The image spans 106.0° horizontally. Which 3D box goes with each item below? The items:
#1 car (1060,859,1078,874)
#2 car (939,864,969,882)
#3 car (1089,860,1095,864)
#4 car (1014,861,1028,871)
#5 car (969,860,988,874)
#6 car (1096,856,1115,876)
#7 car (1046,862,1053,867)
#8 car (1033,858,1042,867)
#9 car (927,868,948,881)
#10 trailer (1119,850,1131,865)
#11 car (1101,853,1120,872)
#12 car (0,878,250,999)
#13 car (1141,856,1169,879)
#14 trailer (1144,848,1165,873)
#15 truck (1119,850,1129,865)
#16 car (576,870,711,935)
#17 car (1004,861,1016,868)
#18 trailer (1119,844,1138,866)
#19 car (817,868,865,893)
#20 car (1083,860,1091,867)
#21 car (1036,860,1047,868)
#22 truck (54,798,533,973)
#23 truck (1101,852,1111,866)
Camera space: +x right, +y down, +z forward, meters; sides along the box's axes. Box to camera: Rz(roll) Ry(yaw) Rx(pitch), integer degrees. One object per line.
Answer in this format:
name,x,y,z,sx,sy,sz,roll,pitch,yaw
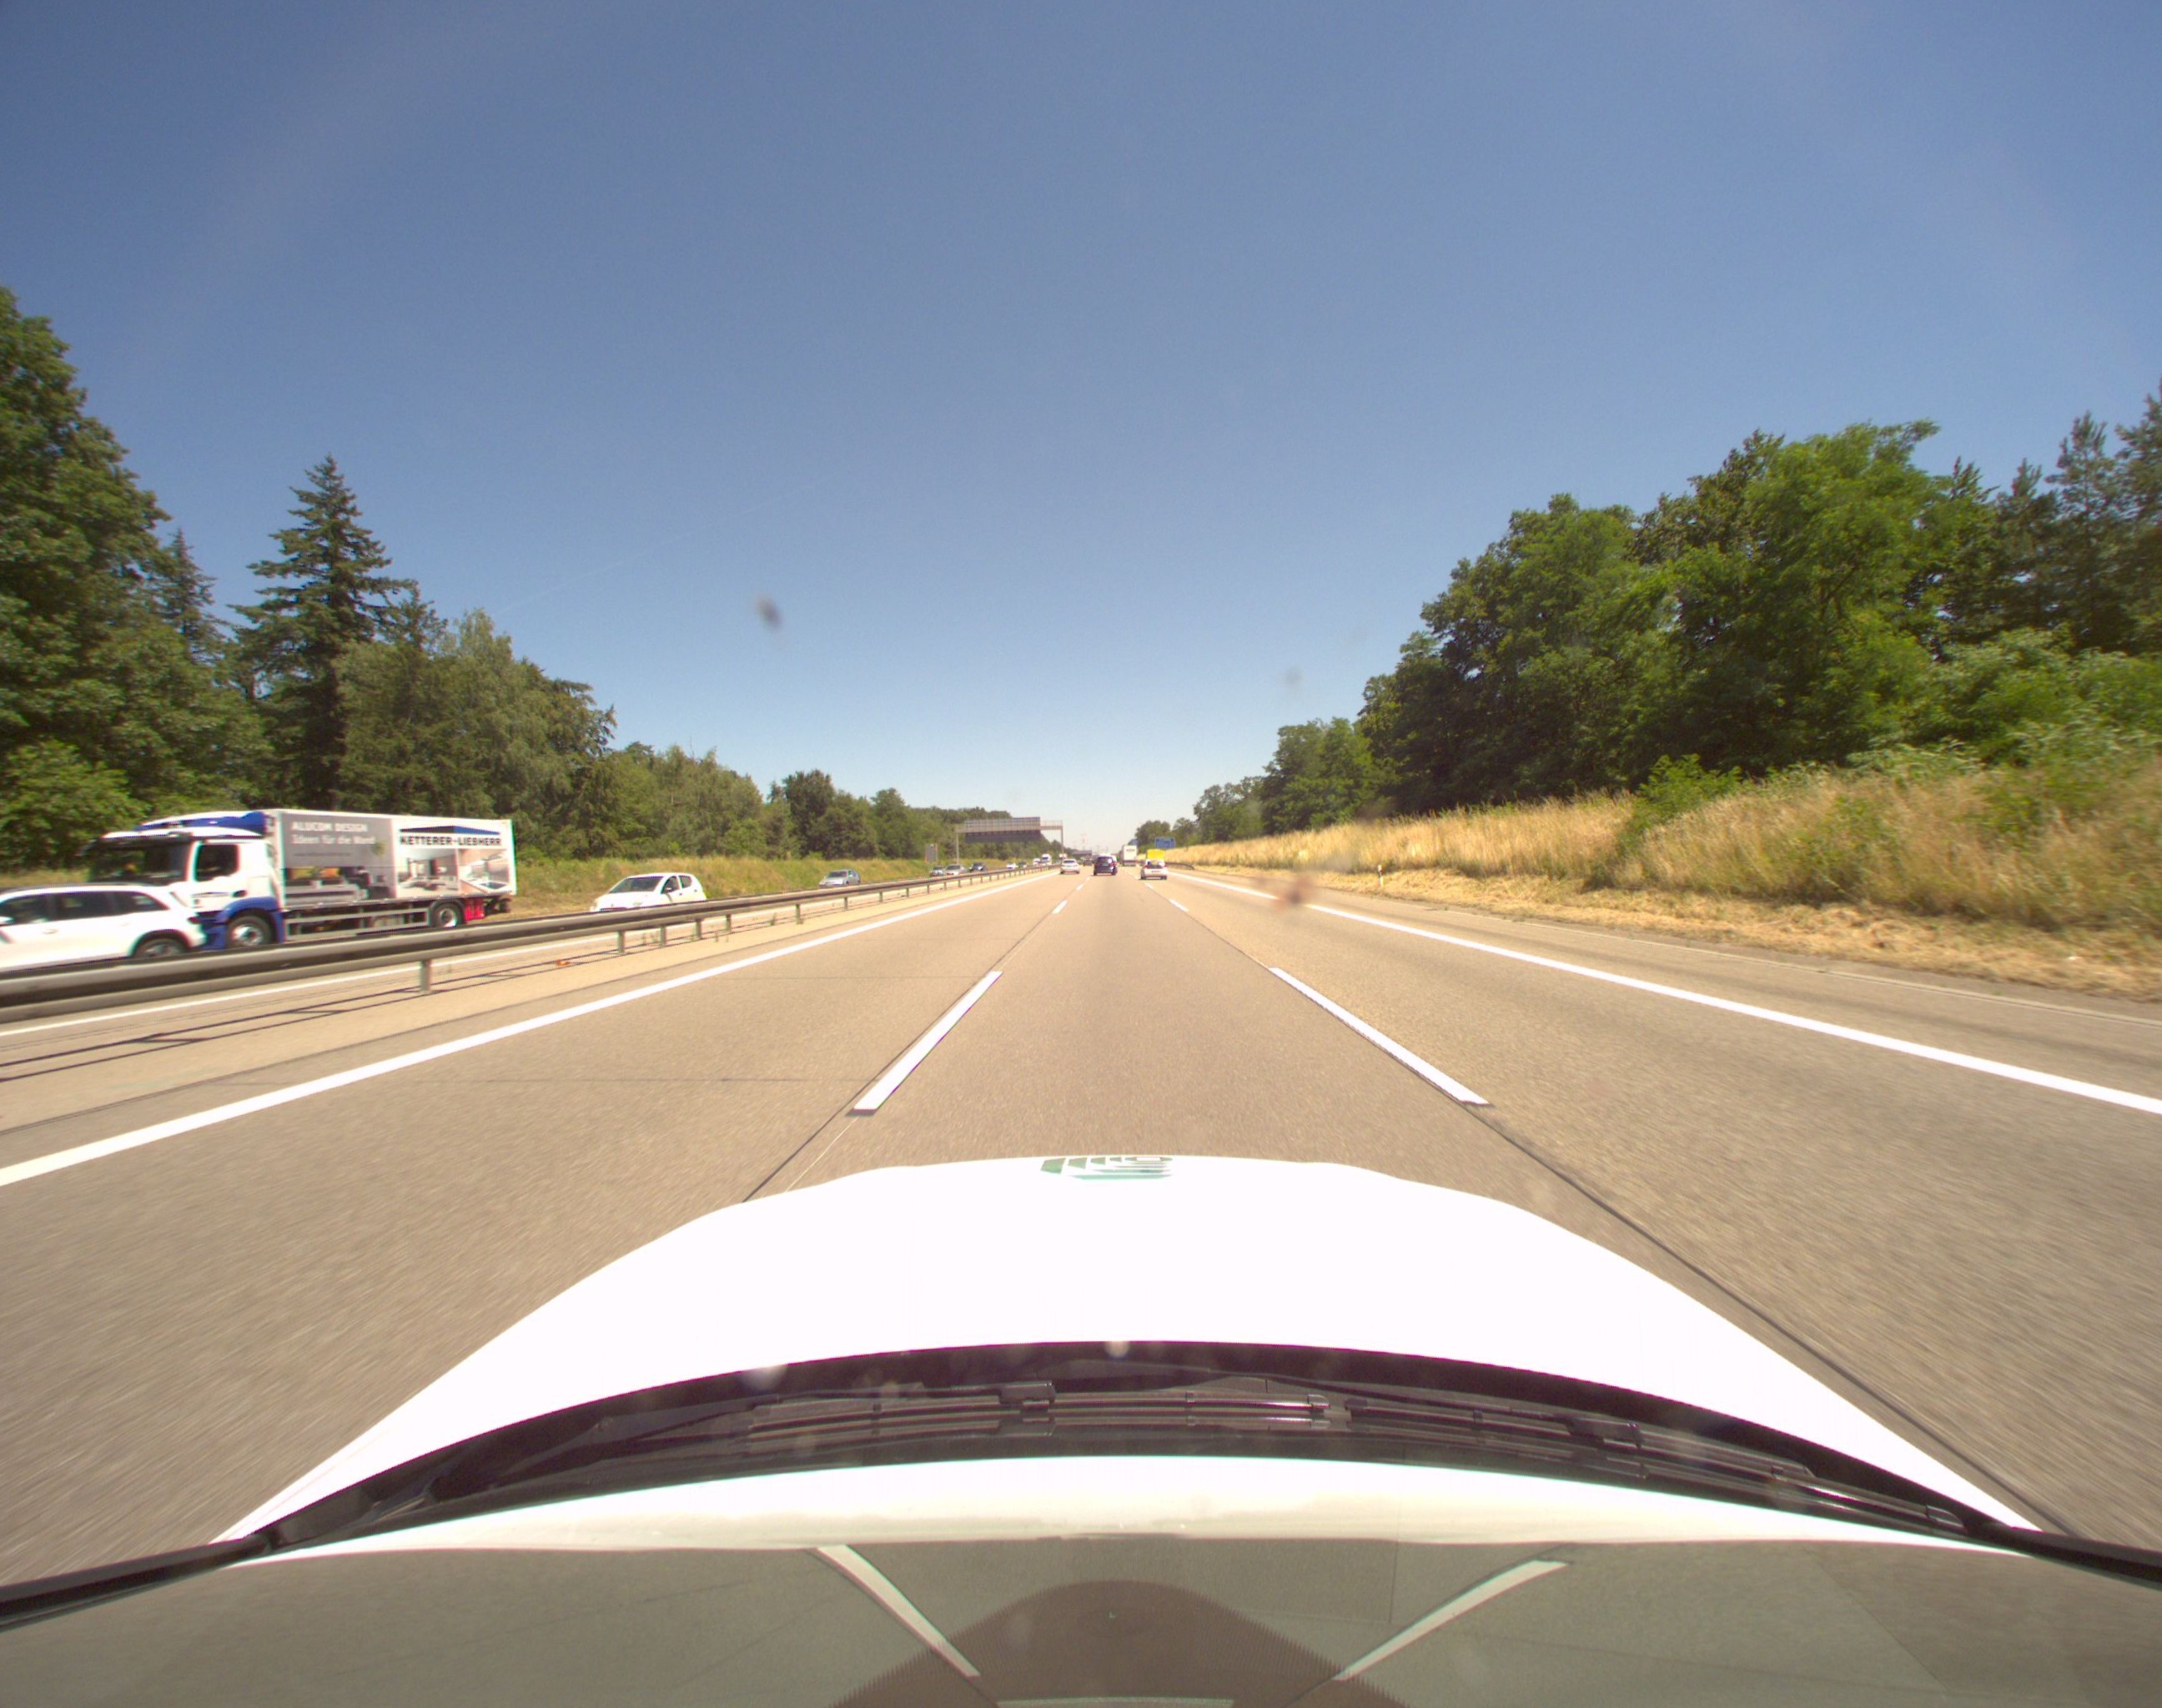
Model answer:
car,-1.158,1.243,81.143,1.663,1.401,3.713,-2,0,1
car,-11.548,1.703,74.593,1.755,1.459,5.122,-4,0,1
car,2.871,2.194,216.708,1.400,1.131,3.359,-1,-1,2
car,-9.169,1.878,125.349,1.692,1.429,4.575,-4,0,1
car,-13.650,1.742,108.736,1.788,1.618,4.987,-4,0,1
car,2.195,1.053,72.675,1.620,1.755,3.806,-1,-1,2
car,-8.923,2.950,228.728,1.641,1.499,4.561,-4,0,1
car,-12.958,2.486,241.249,1.981,2.340,5.810,-4,0,1
car,-18.185,2.581,103.436,1.665,1.410,4.598,-4,0,1
trailer,11.586,0.920,215.382,2.673,3.837,12.013,0,-1,2
car,3.093,0.908,85.949,1.808,1.827,5.112,-1,-1,1
car,-16.343,1.316,12.536,1.721,1.646,5.089,-4,0,1
car,5.196,0.932,57.266,1.702,1.495,4.025,-1,-1,2
trailer,7.029,0.658,77.813,1.697,2.290,3.840,-1,-1,1
truck,11.730,1.001,221.226,2.673,3.837,4.445,0,-1,1
car,-11.685,1.233,22.030,1.511,1.467,3.641,-4,0,1
car,-15.302,2.273,175.562,1.788,1.516,4.904,-4,0,1
trailer,9.290,0.277,159.587,3.274,4.219,13.568,0,-1,2
car,-15.754,1.729,53.664,1.755,1.407,4.353,-4,0,1
car,1.261,1.944,167.131,1.601,1.300,3.676,-1,-1,2
car,-7.844,1.931,162.722,1.788,1.474,4.987,-4,0,1
truck,-20.270,0.697,22.551,2.722,3.518,10.444,-4,0,1
truck,5.377,1.148,177.537,2.053,2.914,7.005,-1,-1,1
